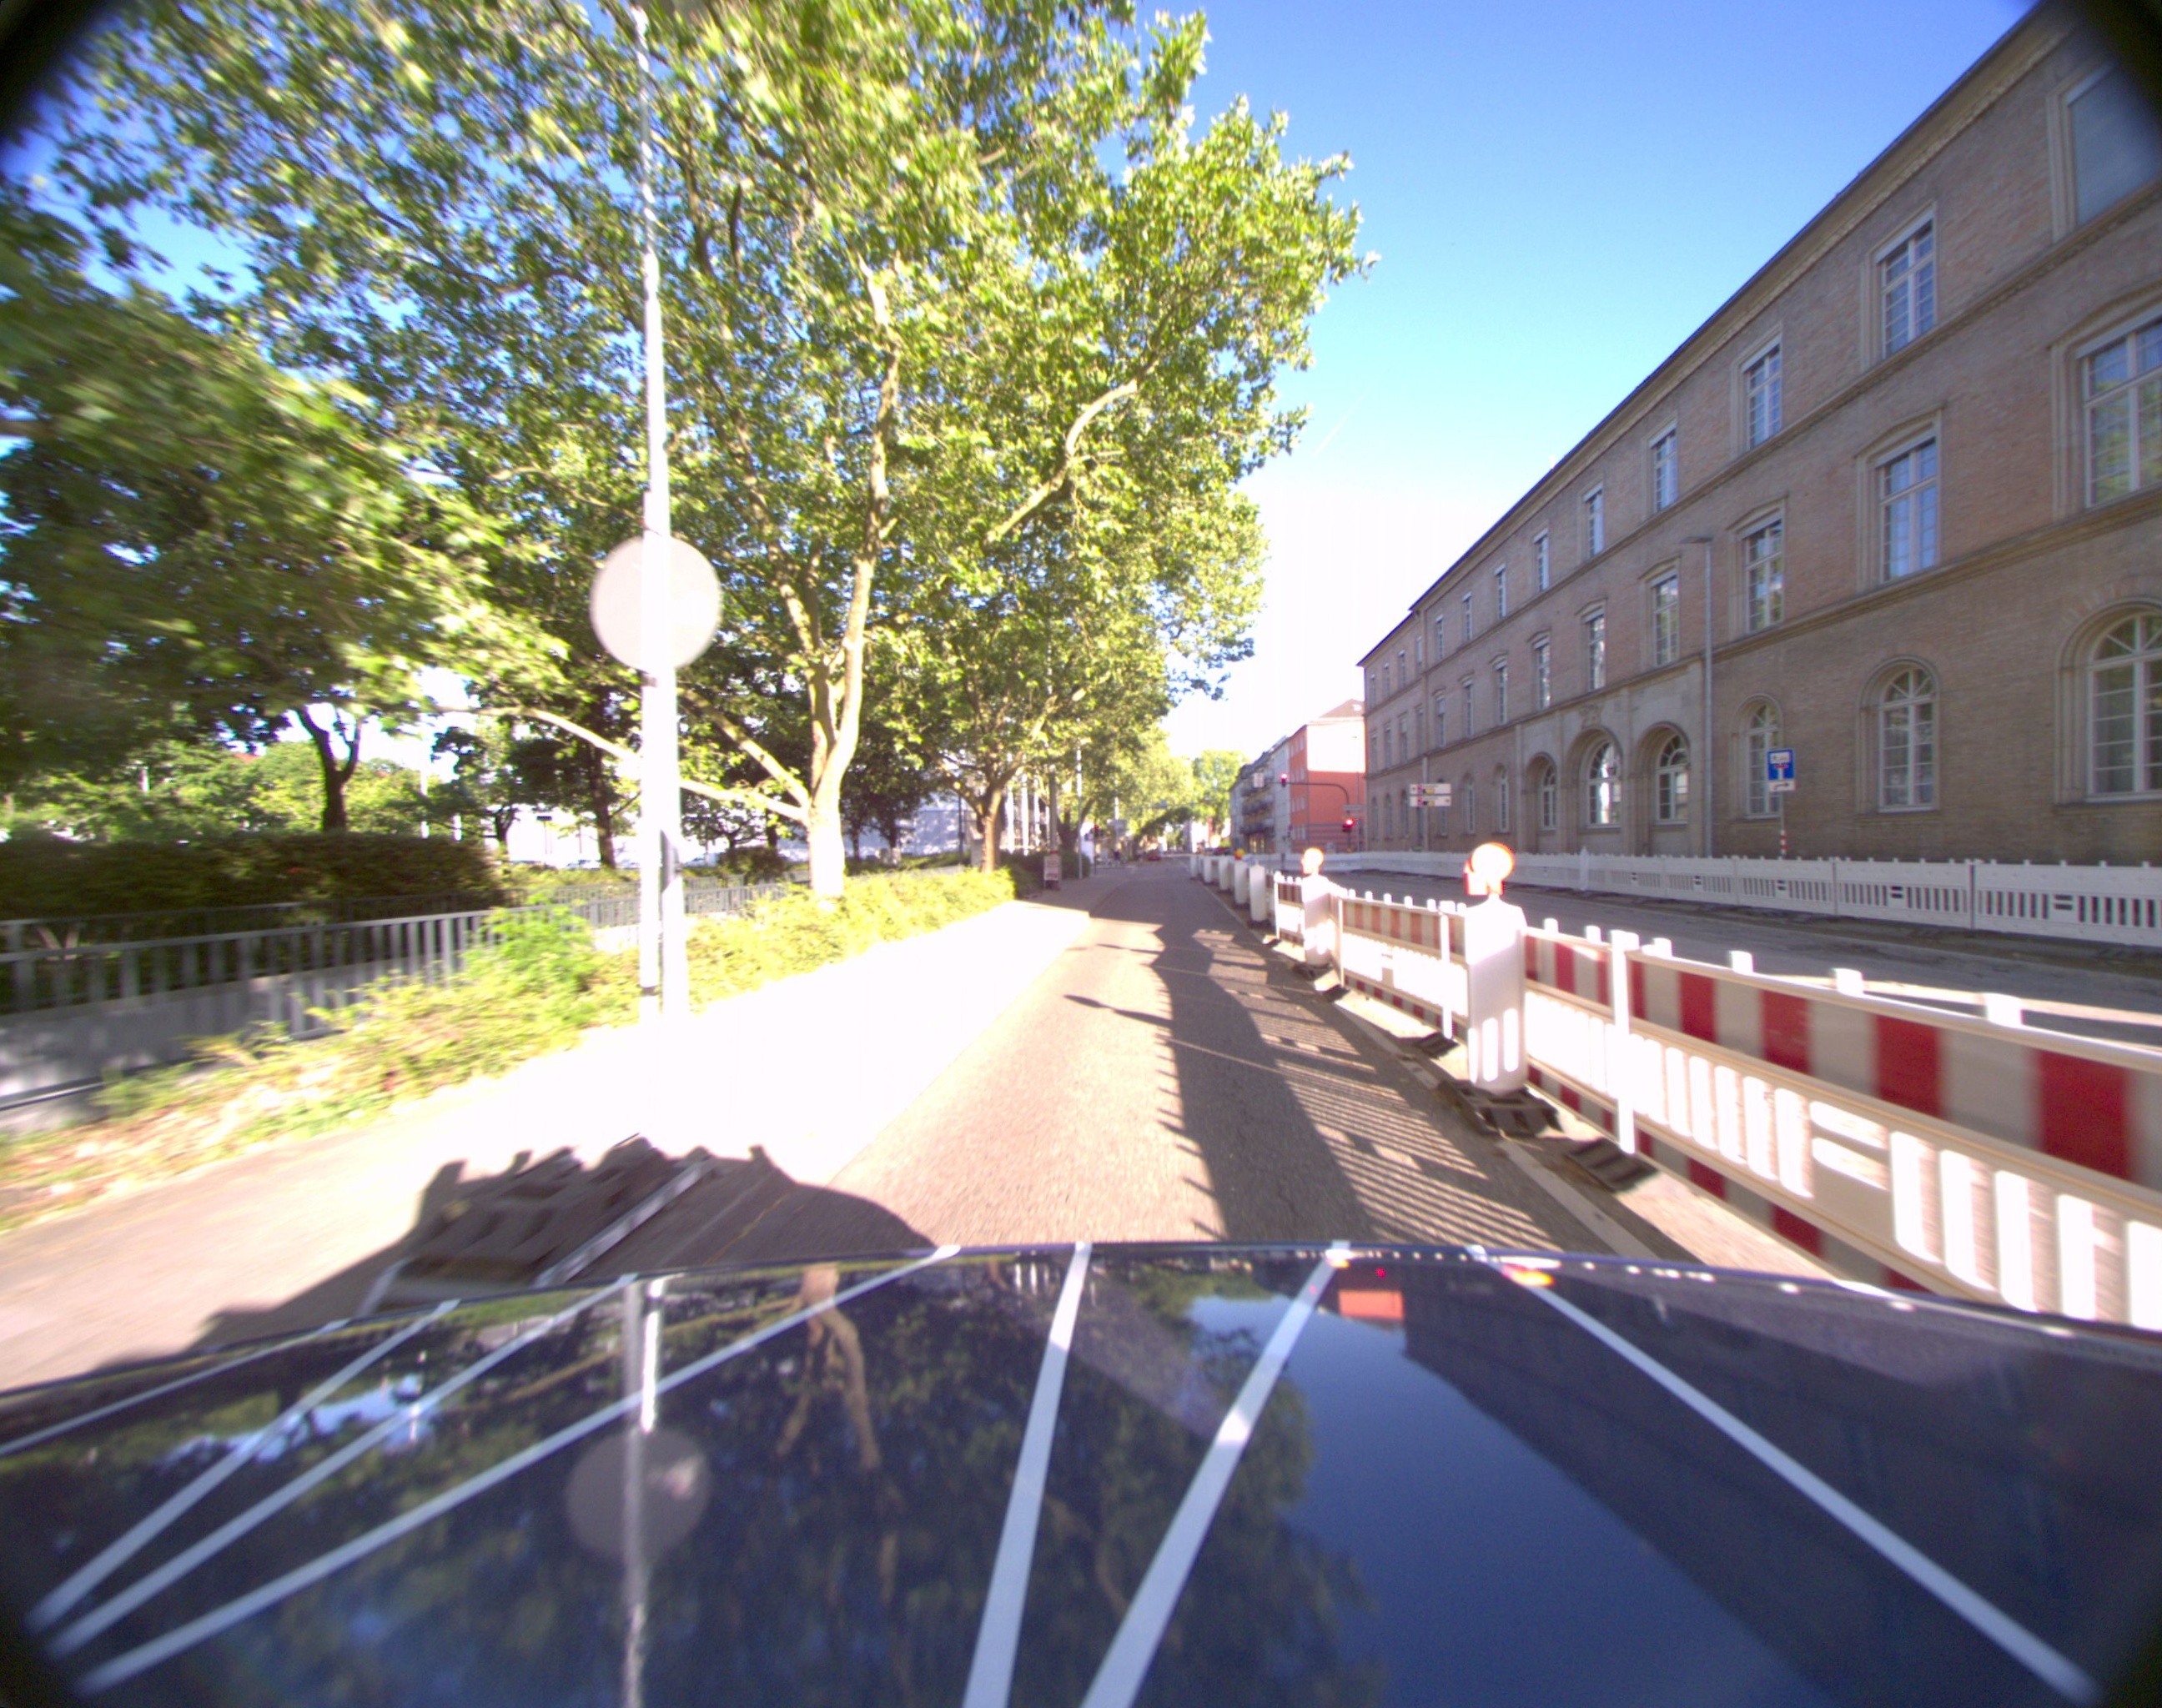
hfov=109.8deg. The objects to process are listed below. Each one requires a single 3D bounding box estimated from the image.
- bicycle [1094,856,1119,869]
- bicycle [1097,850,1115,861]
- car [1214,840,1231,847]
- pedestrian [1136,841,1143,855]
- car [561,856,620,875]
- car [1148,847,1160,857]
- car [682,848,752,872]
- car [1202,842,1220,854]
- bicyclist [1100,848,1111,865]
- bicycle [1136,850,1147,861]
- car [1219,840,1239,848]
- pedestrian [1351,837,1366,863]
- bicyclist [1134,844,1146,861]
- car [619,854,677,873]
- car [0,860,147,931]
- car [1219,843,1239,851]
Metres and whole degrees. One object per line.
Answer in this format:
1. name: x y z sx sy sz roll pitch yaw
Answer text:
1. bicycle: 2.066 0.673 60.891 1.990 0.993 0.790 0 -1 4
2. bicycle: 2.416 0.144 73.235 1.637 0.993 0.621 0 3 -20
3. car: 34.680 -2.541 185.954 3.994 1.689 1.834 -1 1 8
4. pedestrian: 7.684 -0.752 99.448 0.671 1.786 0.666 -5 2 1
5. car: -40.373 0.919 62.540 3.846 1.476 1.630 -1 1 4
6. car: 11.156 -0.355 116.065 1.786 1.520 4.658 -1 0 5
7. car: -29.723 0.494 62.188 4.715 1.818 2.109 -1 1 4
8. car: 20.246 -0.972 118.892 1.998 1.807 5.123 -1 2 1
9. bicyclist: 1.981 0.217 60.899 0.837 1.364 0.792 1 0 4
10. bicycle: 5.994 0.201 75.213 0.703 1.060 1.930 -1 -1 13
11. car: 31.241 -2.142 160.875 3.994 1.689 1.834 -1 1 8
12. pedestrian: 19.159 -0.258 52.397 0.882 1.761 0.748 -1 1 16
13. bicyclist: 5.850 -0.166 75.001 0.948 1.631 1.008 -2 1 13
14. car: -35.627 0.741 62.620 3.846 1.476 1.630 -1 1 4
15. car: -26.241 1.006 18.579 1.762 1.617 4.000 -1 1 1
16. car: 30.285 -1.423 155.651 3.994 1.689 1.834 -1 1 8
